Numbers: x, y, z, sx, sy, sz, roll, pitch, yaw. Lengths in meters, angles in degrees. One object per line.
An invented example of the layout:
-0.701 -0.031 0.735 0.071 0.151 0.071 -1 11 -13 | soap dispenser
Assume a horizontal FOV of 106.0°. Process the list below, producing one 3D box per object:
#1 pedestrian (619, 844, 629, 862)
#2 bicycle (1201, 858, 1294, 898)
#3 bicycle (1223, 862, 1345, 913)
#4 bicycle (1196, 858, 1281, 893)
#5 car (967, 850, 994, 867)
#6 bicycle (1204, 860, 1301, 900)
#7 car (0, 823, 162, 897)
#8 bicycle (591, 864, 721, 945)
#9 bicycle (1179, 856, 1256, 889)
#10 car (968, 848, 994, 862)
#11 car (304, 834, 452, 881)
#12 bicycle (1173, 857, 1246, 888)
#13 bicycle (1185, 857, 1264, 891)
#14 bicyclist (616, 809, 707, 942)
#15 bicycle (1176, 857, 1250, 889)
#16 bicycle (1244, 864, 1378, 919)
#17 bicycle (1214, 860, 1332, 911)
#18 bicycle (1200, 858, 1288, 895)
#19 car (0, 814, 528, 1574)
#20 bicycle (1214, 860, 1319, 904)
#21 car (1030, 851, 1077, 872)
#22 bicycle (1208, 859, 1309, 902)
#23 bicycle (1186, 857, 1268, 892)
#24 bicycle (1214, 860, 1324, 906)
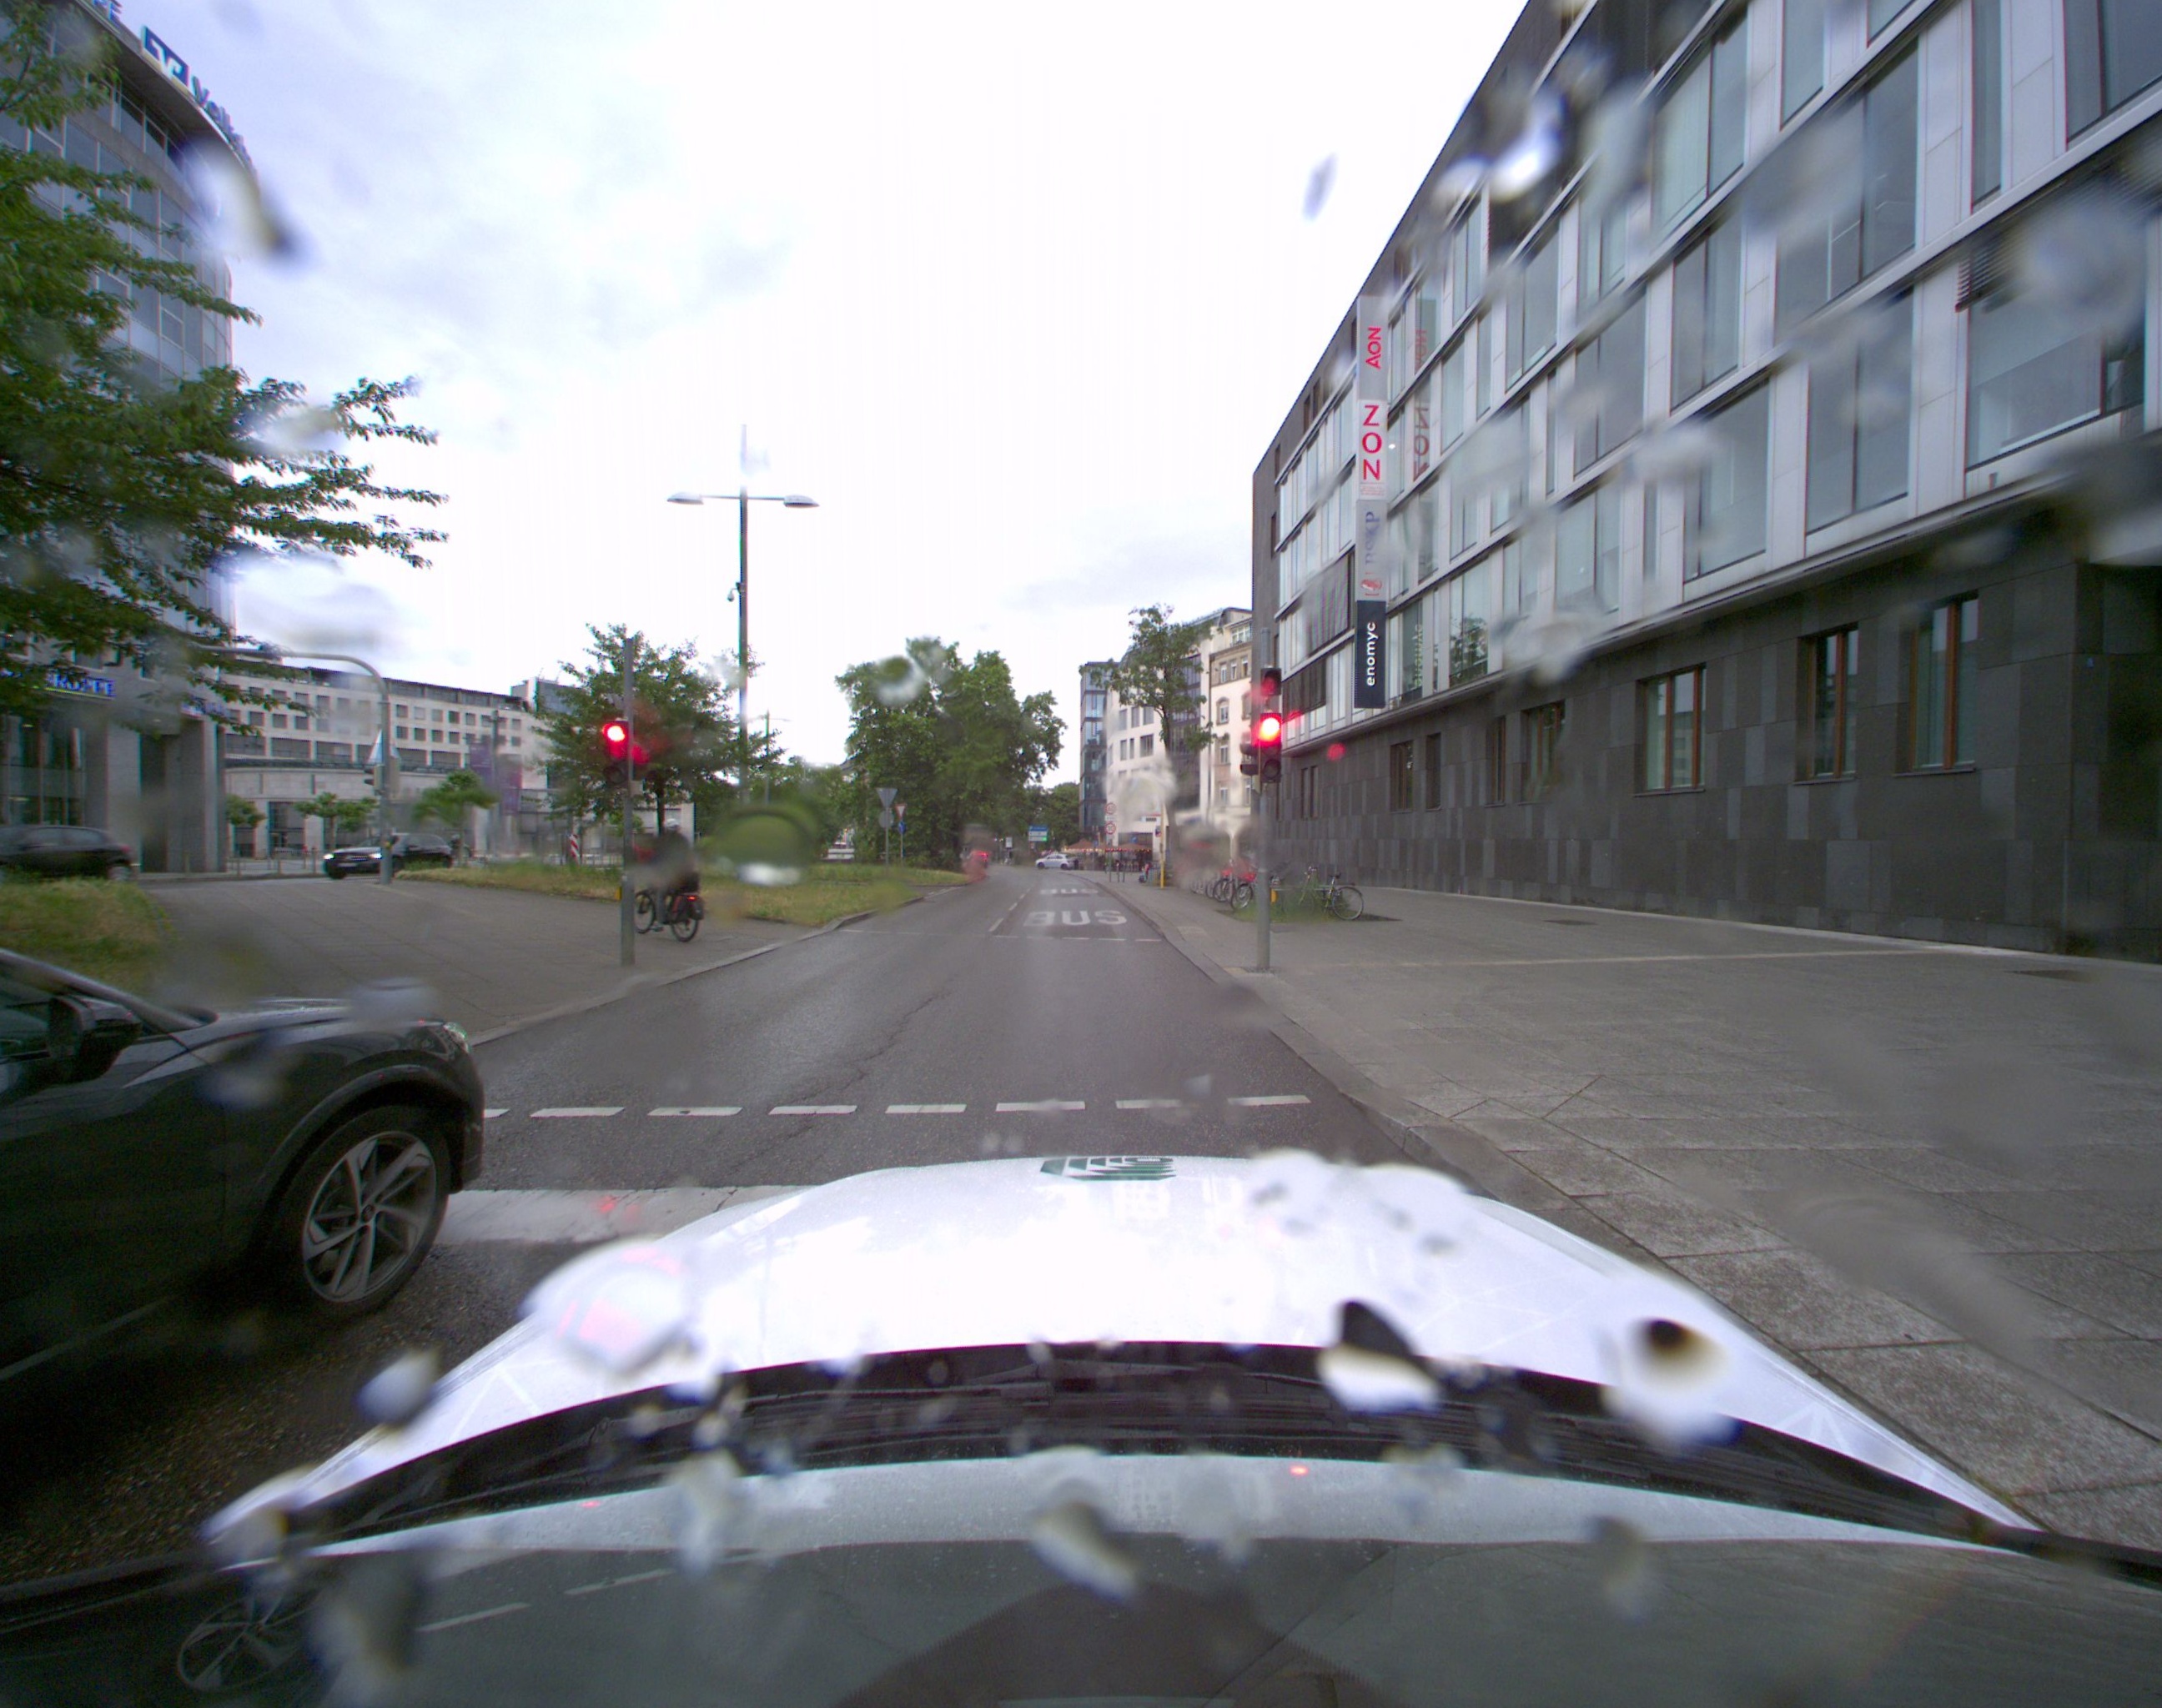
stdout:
-51.011 -0.140 90.933 0.790 2.014 0.737 2 0 -13 | pedestrian
4.783 0.682 23.419 2.530 1.087 0.677 -1 0 -3 | bicycle
4.450 0.724 17.953 2.530 1.087 0.677 0 0 -3 | bicycle
4.933 0.666 25.592 2.530 1.087 0.677 -1 0 -3 | bicycle
-10.404 0.455 83.870 2.166 1.706 4.531 0 0 -15 | car
4.725 0.697 22.510 2.530 1.060 0.677 -1 0 -3 | bicycle
-22.952 0.097 17.713 1.805 1.486 3.985 2 0 -11 | car
-7.074 0.800 13.533 2.107 1.145 0.767 3 1 26 | bicycle
4.684 0.640 28.080 2.530 1.087 0.677 -1 0 -3 | bicycle
-12.376 0.093 100.631 2.189 1.700 3.968 0 0 -25 | car
-24.677 0.101 28.832 1.803 1.486 4.372 2 0 -8 | car
4.649 0.662 29.551 2.530 1.087 0.627 -1 0 -3 | bicycle
4.780 0.650 27.188 2.530 1.087 0.677 -1 0 -3 | bicycle
-6.928 0.328 13.465 1.072 2.082 0.767 3 1 26 | bicyclist
4.661 0.653 28.828 2.530 1.087 0.677 -1 0 -3 | bicycle
4.630 0.743 16.470 2.530 1.057 0.677 0 0 -3 | bicycle
4.399 0.717 18.758 2.530 1.087 0.677 2 0 -3 | bicycle
4.913 0.667 24.613 2.530 1.087 0.677 -1 0 -3 | bicycle
-3.190 0.715 1.269 1.843 1.616 4.249 1 1 -2 | car
4.723 0.699 20.832 2.530 1.087 0.677 -1 0 -3 | bicycle
-2.580 0.698 77.238 3.959 1.647 2.007 4 0 14 | car
4.692 0.695 21.644 2.530 1.087 0.677 -1 0 -3 | bicycle
4.721 0.666 26.437 2.530 1.087 0.677 -1 0 -3 | bicycle
4.597 0.700 19.980 2.530 1.087 0.677 -1 0 -3 | bicycle
